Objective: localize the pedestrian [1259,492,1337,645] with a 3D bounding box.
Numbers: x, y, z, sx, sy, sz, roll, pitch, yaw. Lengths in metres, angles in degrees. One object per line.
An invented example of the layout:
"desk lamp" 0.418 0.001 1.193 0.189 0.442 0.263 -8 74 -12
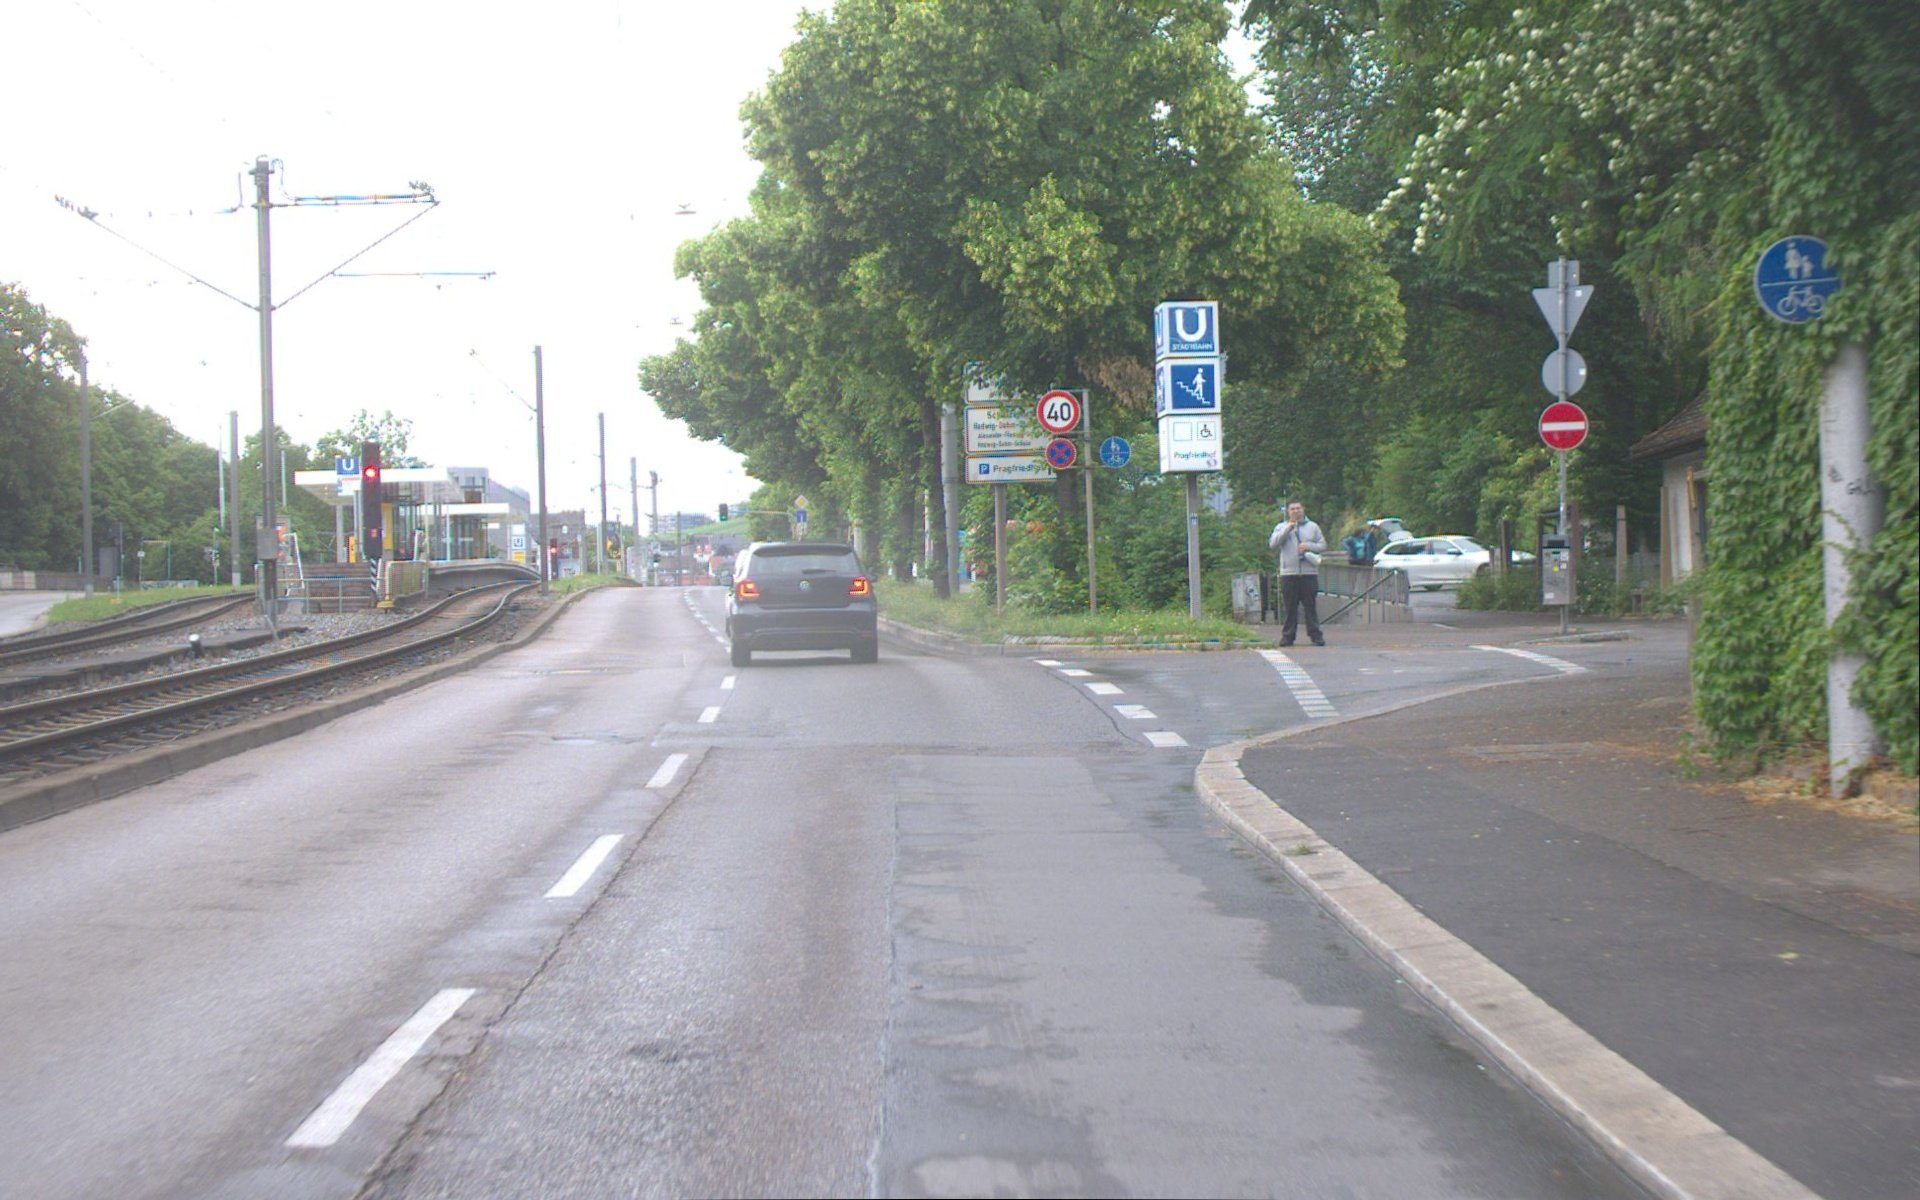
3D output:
"pedestrian" 4.148 -0.388 42.216 0.855 1.847 0.737 -1 1 -1

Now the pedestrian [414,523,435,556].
"pedestrian" -19.942 -2.239 128.081 0.710 1.221 0.619 -1 1 -4

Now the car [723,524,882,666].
"car" -1.822 -0.099 39.977 1.726 1.535 4.001 -1 1 -2

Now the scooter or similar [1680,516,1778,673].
"scooter or similar" 6.334 -0.050 28.358 0.514 1.226 1.314 -5 0 4

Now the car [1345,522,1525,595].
"car" 12.634 -1.107 91.588 1.941 1.828 4.465 0 1 -45

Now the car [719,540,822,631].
"car" -3.377 -0.289 60.688 1.687 1.512 4.001 -1 1 -4

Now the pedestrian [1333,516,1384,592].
"pedestrian" 10.596 -1.223 91.414 0.960 2.007 0.951 -1 1 -28
